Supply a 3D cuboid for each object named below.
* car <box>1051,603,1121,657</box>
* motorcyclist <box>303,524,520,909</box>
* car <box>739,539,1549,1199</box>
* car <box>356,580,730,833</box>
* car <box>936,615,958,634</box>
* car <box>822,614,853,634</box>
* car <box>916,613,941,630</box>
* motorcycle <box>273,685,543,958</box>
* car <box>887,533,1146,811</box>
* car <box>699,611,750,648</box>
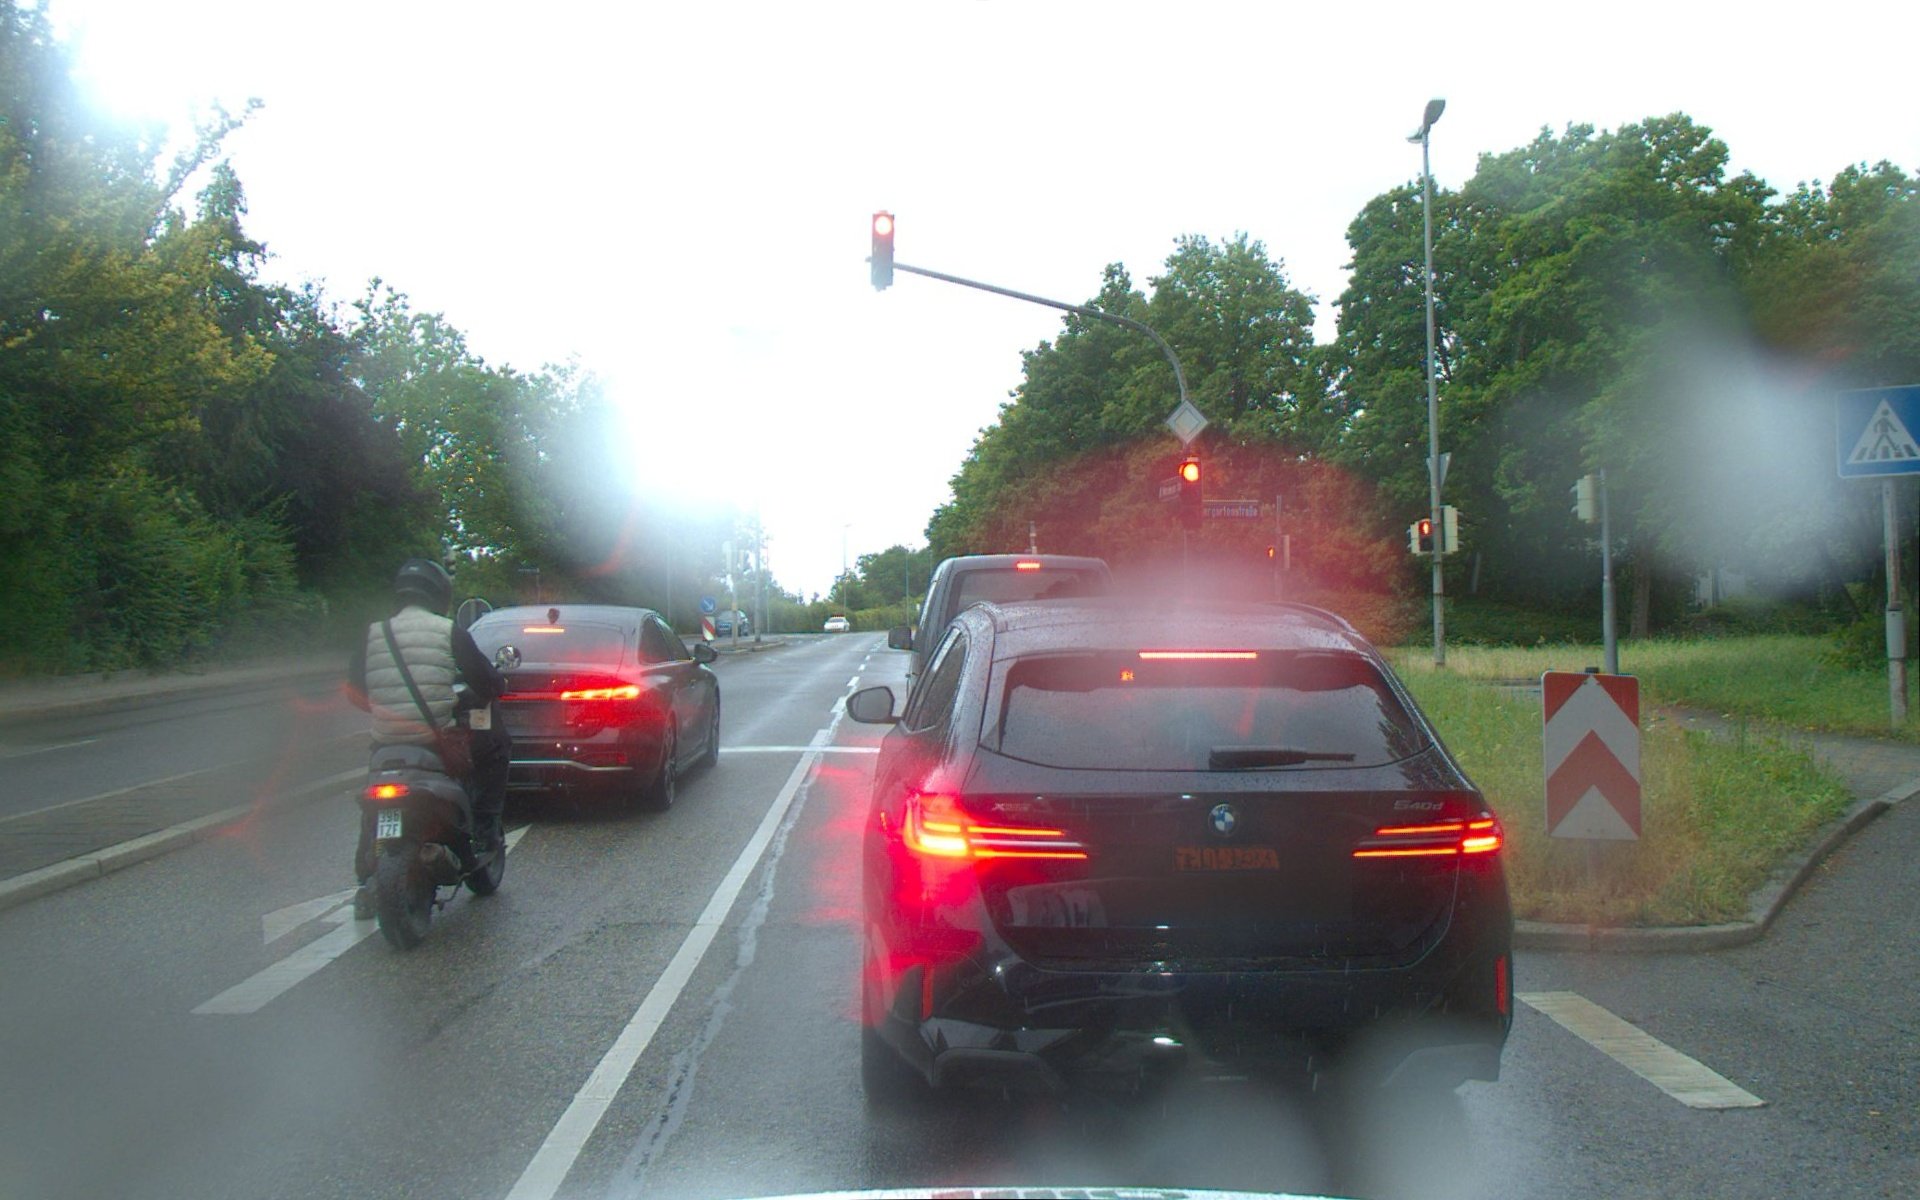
[{"bbox_3d":[3.966,0.917,52.487,1.835,1.569,3.952,-2,0,0],"label":"car"},{"bbox_3d":[-2.479,0.514,7.547,0.749,1.671,0.674,0,-1,-2],"label":"motorcyclist"},{"bbox_3d":[0.529,0.694,6.134,1.858,1.578,4.616,0,-1,3],"label":"car"},{"bbox_3d":[-2.999,0.705,12.886,1.954,1.554,4.325,-2,0,-3],"label":"car"},{"bbox_3d":[-1.037,2.007,133.854,1.663,1.452,3.513,-2,0,0],"label":"car"},{"bbox_3d":[-10.636,2.107,143.795,1.951,1.639,3.674,-2,-1,6],"label":"car"},{"bbox_3d":[-3.435,2.372,182.444,2.061,1.795,4.871,-2,-1,6],"label":"car"},{"bbox_3d":[-2.497,0.957,7.702,0.677,1.071,1.747,1,-1,-1],"label":"motorcycle"},{"bbox_3d":[0.382,0.509,13.371,1.781,1.901,3.952,0,0,0],"label":"car"},{"bbox_3d":[-12.709,1.588,89.551,1.952,1.858,4.001,-2,-1,3],"label":"car"}]
